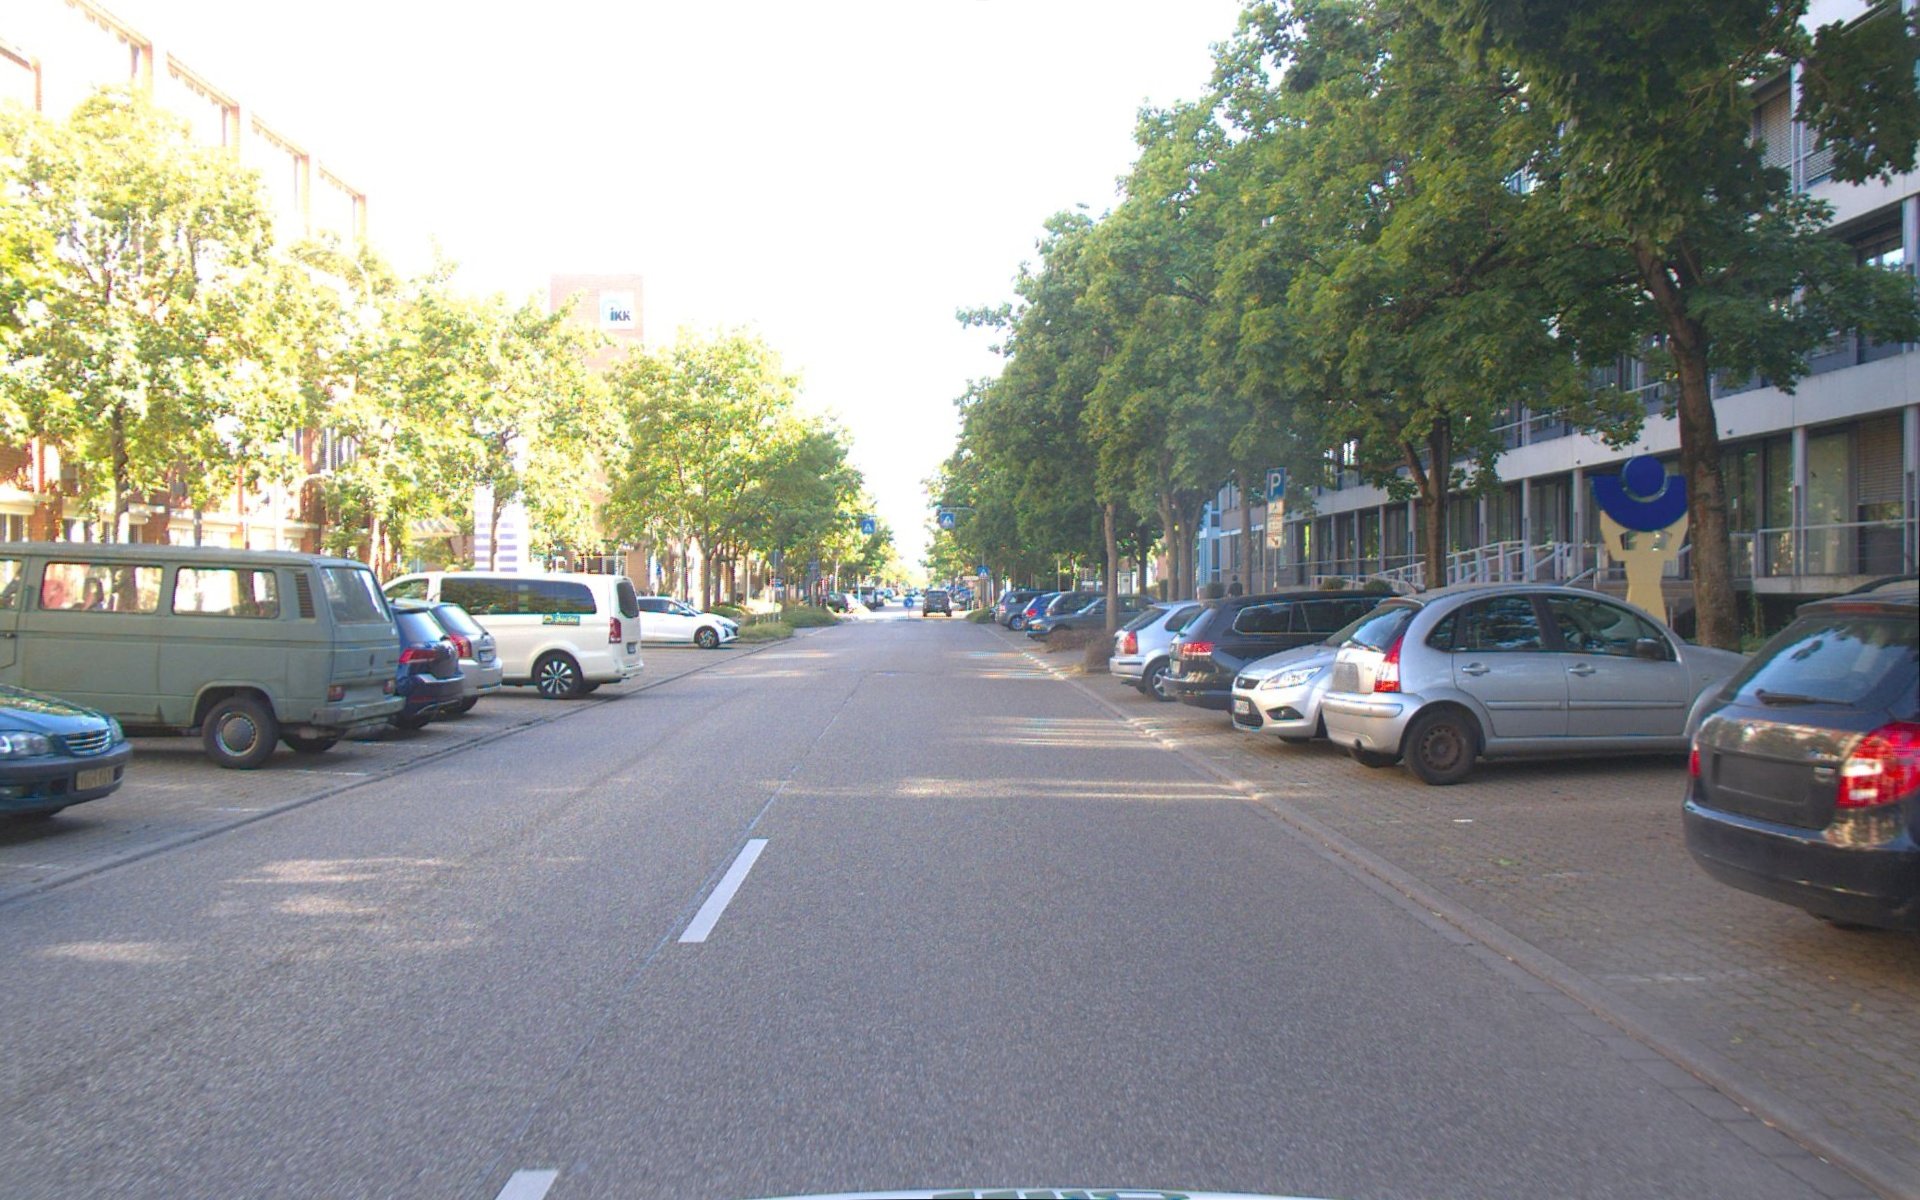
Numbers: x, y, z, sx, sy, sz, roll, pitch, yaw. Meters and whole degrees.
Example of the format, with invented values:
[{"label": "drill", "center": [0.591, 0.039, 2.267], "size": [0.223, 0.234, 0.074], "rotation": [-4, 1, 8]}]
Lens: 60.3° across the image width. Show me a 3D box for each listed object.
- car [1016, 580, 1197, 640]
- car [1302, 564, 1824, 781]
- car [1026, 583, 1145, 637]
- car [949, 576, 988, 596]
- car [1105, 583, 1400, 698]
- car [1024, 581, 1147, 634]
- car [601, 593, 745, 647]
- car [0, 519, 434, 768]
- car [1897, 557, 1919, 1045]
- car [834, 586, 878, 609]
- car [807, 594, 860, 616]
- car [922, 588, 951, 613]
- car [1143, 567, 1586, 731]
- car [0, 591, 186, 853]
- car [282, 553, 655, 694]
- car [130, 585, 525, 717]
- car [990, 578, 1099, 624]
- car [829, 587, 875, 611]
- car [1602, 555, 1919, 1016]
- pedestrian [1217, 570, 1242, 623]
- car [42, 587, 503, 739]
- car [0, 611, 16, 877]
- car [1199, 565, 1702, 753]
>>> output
[{"label": "car", "center": [4.005, 0.271, 45.873], "size": [4.729, 1.444, 2.031], "rotation": [-2, 0, -3]}, {"label": "car", "center": [4.860, 0.550, 13.623], "size": [3.670, 1.519, 1.615], "rotation": [-2, 0, -5]}, {"label": "car", "center": [3.916, 0.308, 52.028], "size": [3.566, 1.541, 1.813], "rotation": [-2, 0, 1]}, {"label": "car", "center": [0.861, -1.439, 171.671], "size": [3.907, 2.049, 1.999], "rotation": [-1, 0, -3]}, {"label": "car", "center": [4.166, 0.561, 23.923], "size": [3.891, 1.444, 1.709], "rotation": [-2, 0, -3]}, {"label": "car", "center": [4.085, 0.232, 54.359], "size": [3.868, 1.541, 1.813], "rotation": [-2, 0, 0]}, {"label": "car", "center": [-8.303, 0.559, 48.056], "size": [3.907, 1.512, 1.806], "rotation": [0, 0, -2]}, {"label": "car", "center": [-7.525, 0.359, 15.595], "size": [4.395, 2.126, 2.083], "rotation": [1, 0, 1]}, {"label": "car", "center": [5.223, 0.567, 4.306], "size": [4.421, 1.569, 1.922], "rotation": [-2, 0, 3]}, {"label": "car", "center": [-9.608, -0.269, 153.050], "size": [3.903, 2.049, 2.001], "rotation": [-1, 0, 3]}, {"label": "car", "center": [-9.431, 0.371, 122.795], "size": [3.778, 1.499, 1.809], "rotation": [1, 0, -9]}, {"label": "car", "center": [-1.629, 0.058, 115.409], "size": [1.953, 1.668, 3.999], "rotation": [1, 0, -1]}, {"label": "car", "center": [4.455, 0.520, 18.668], "size": [4.498, 1.519, 1.762], "rotation": [-3, 0, -1]}, {"label": "car", "center": [-7.495, 0.704, 10.782], "size": [4.048, 1.554, 1.725], "rotation": [1, 0, -1]}, {"label": "car", "center": [-7.492, 0.352, 25.604], "size": [5.151, 2.001, 1.942], "rotation": [1, 0, -1]}, {"label": "car", "center": [-7.913, 0.610, 20.987], "size": [4.231, 1.503, 1.943], "rotation": [1, 0, 1]}, {"label": "car", "center": [3.477, 0.045, 68.506], "size": [4.265, 1.733, 1.811], "rotation": [-2, 0, -4]}, {"label": "car", "center": [-9.764, -0.118, 150.068], "size": [3.903, 2.049, 2.001], "rotation": [-1, 0, 3]}, {"label": "car", "center": [5.202, 0.552, 6.690], "size": [4.423, 1.569, 1.921], "rotation": [-2, 0, -1]}, {"label": "pedestrian", "center": [9.275, -0.118, 56.920], "size": [0.595, 1.776, 1.191], "rotation": [-1, 0, -1]}, {"label": "car", "center": [-7.462, 0.653, 18.270], "size": [4.231, 1.503, 1.943], "rotation": [1, 0, 1]}, {"label": "car", "center": [-6.975, 0.760, 8.103], "size": [3.655, 1.452, 1.722], "rotation": [1, 0, -7]}, {"label": "car", "center": [4.616, 0.522, 15.995], "size": [4.201, 1.519, 2.002], "rotation": [-2, 0, -5]}]
